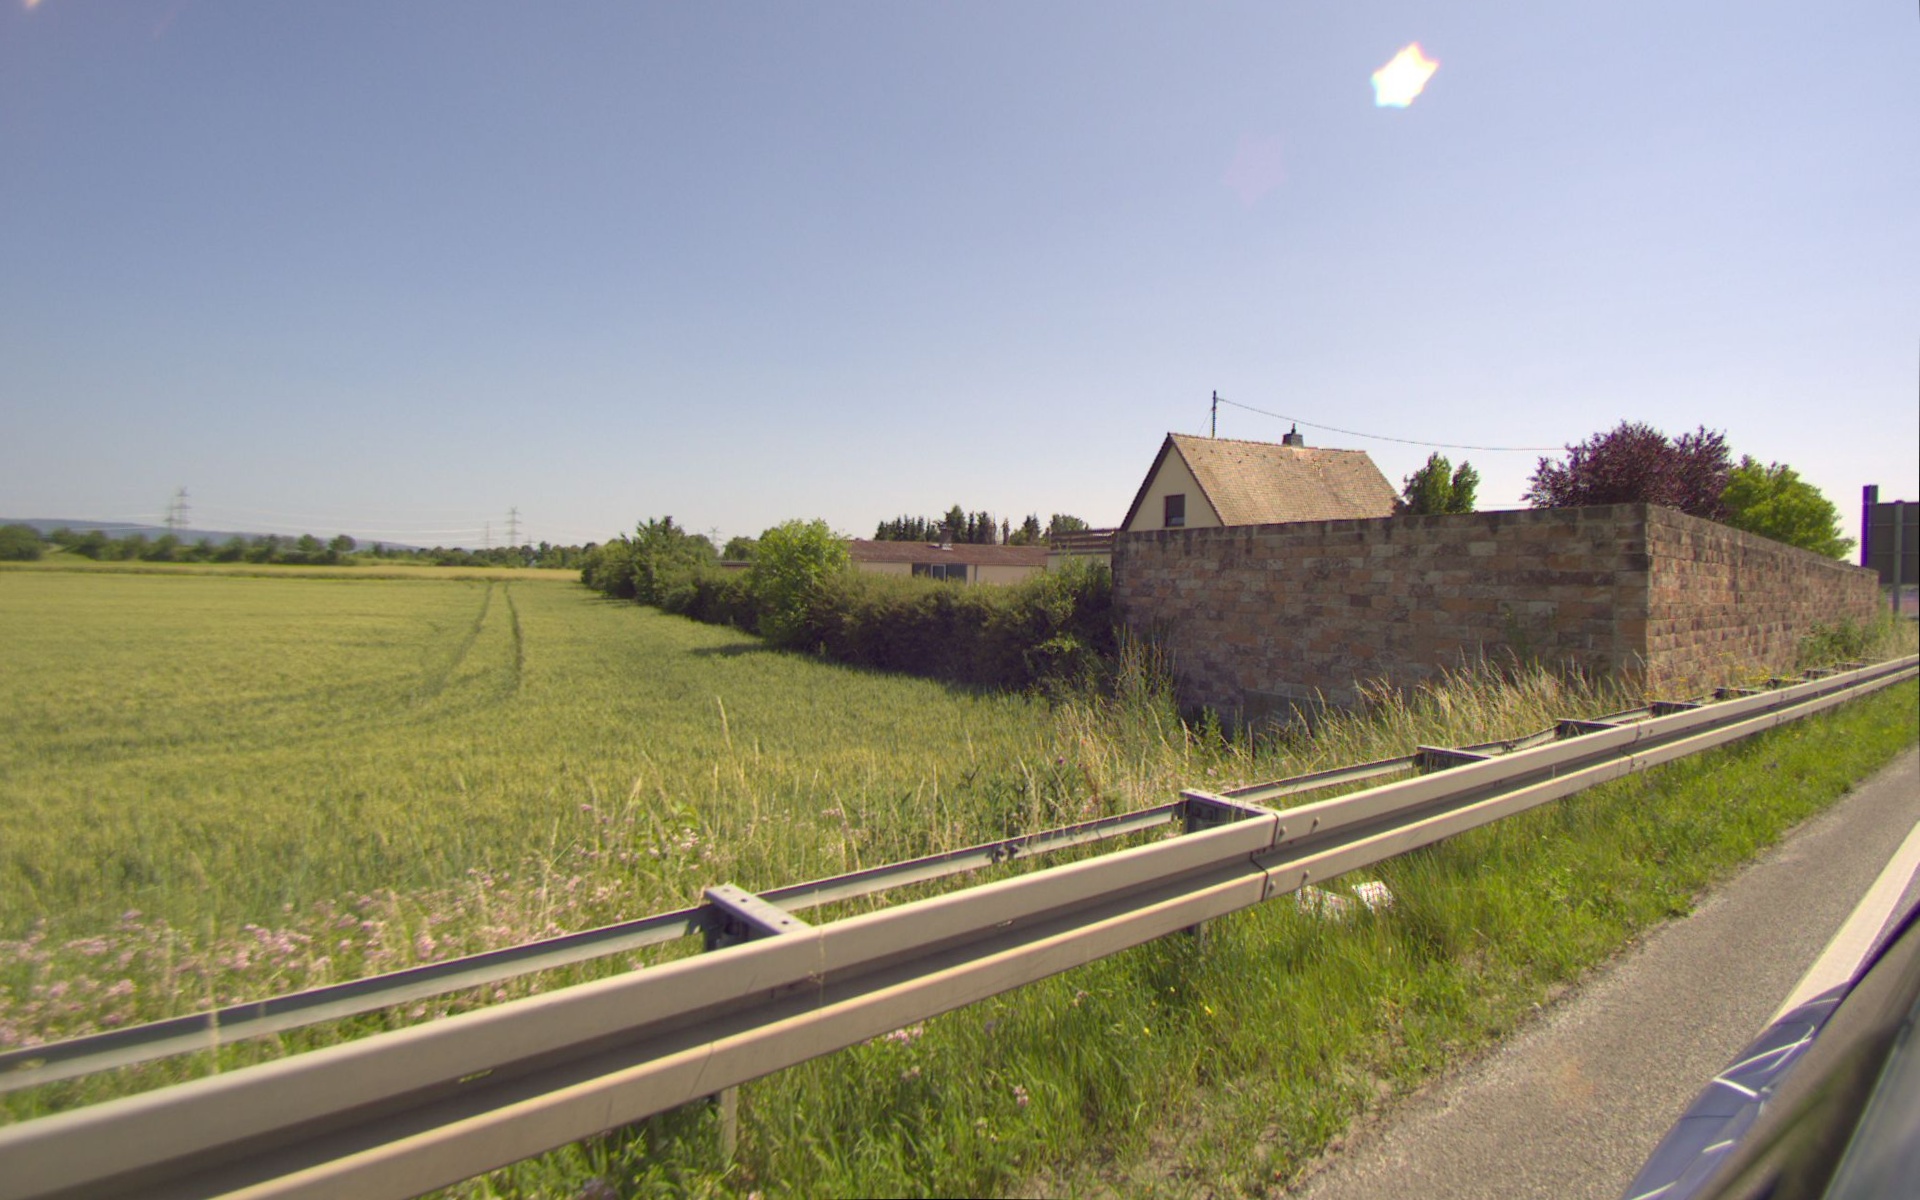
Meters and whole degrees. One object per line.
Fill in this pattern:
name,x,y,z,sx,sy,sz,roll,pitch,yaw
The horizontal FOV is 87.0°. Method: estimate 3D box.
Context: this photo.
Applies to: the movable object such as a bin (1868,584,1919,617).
movable object such as a bin,69.278,0.032,74.097,4.091,2.361,1.258,0,0,42
